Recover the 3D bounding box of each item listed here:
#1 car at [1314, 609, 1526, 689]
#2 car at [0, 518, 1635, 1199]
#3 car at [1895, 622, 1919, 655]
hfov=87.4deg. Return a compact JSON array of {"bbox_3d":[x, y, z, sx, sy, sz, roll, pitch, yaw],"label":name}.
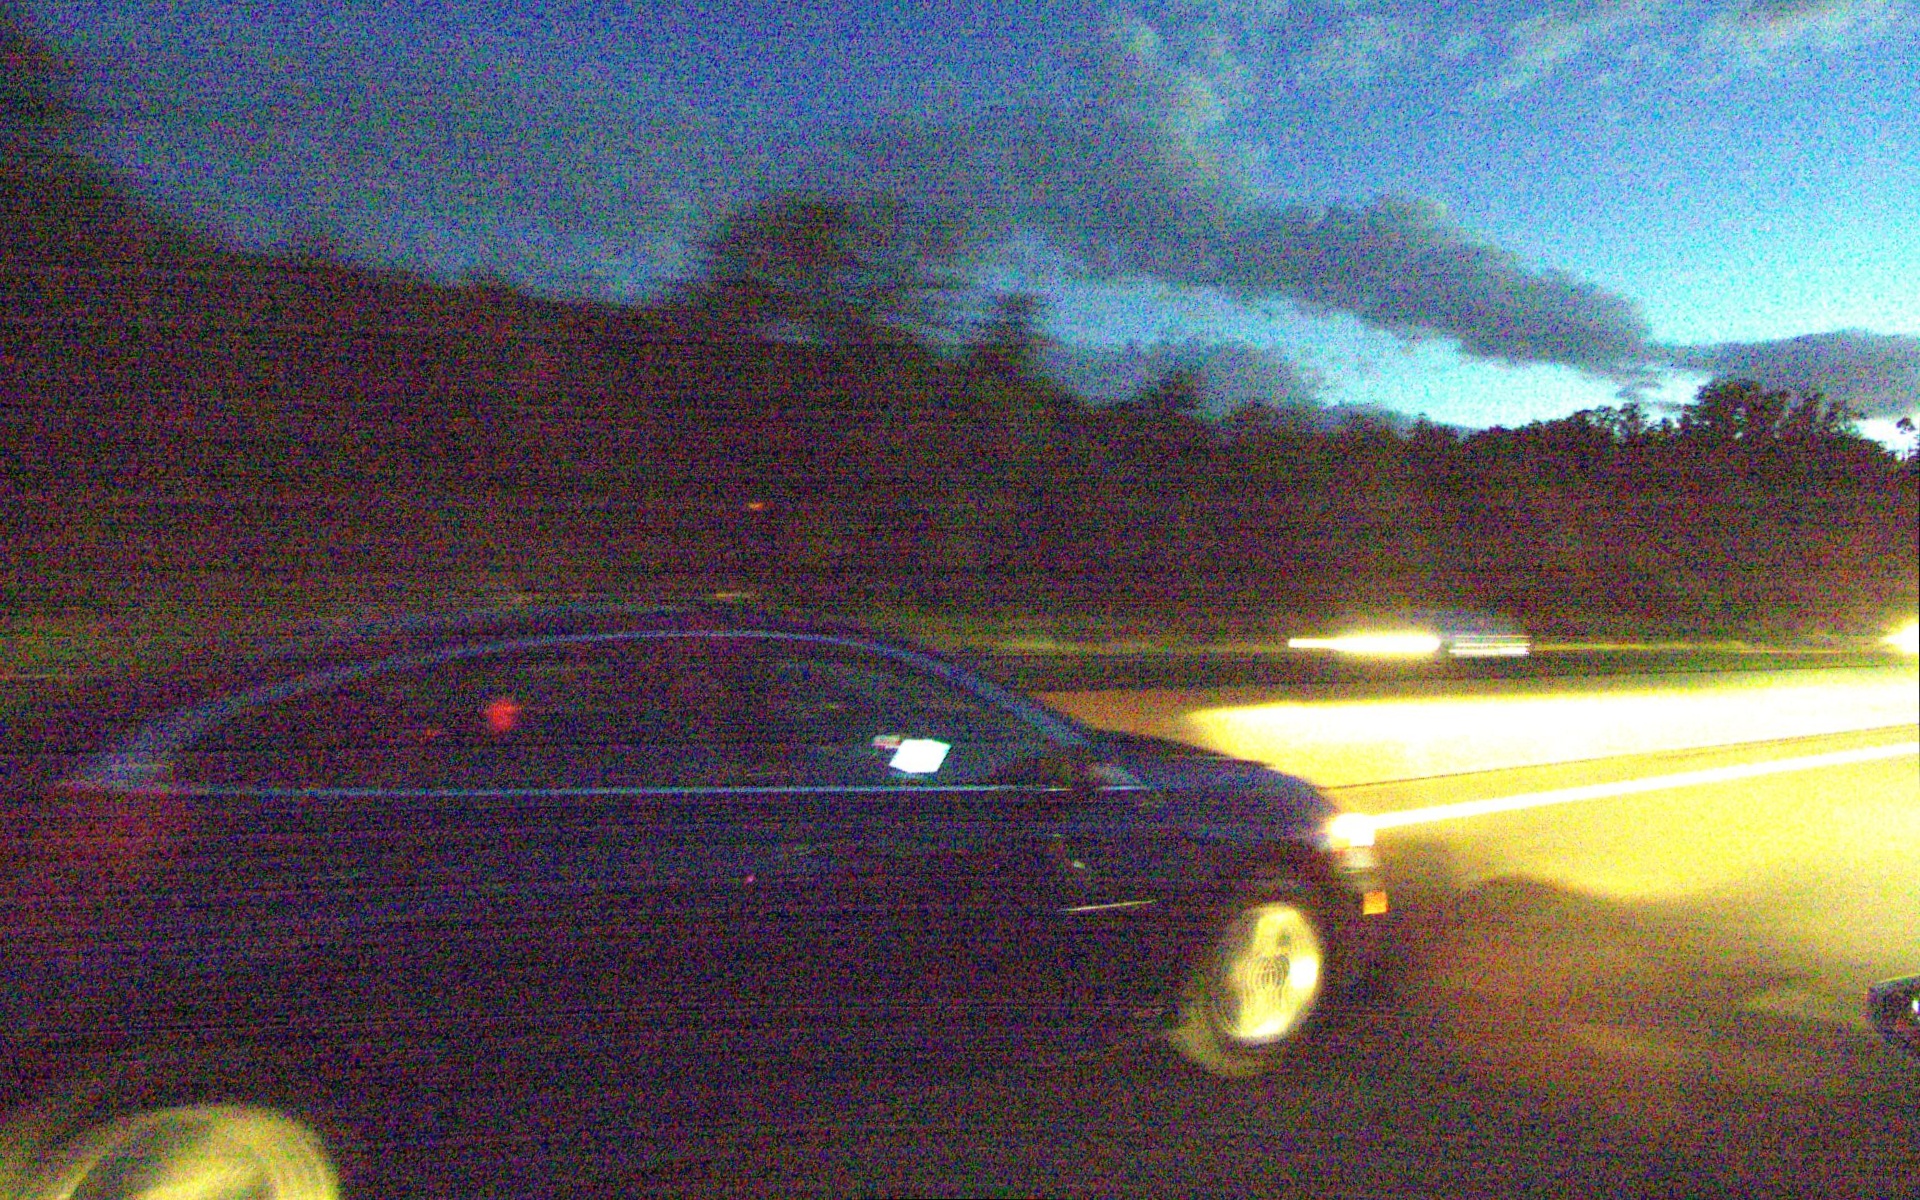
[{"bbox_3d":[10.907,1.121,23.738,4.834,1.690,2.232,2,0,-32],"label":"car"},{"bbox_3d":[-0.288,0.643,3.375,5.583,1.539,1.984,0,1,-30],"label":"car"},{"bbox_3d":[51.820,2.077,53.149,4.832,1.690,2.232,2,0,-32],"label":"car"}]
